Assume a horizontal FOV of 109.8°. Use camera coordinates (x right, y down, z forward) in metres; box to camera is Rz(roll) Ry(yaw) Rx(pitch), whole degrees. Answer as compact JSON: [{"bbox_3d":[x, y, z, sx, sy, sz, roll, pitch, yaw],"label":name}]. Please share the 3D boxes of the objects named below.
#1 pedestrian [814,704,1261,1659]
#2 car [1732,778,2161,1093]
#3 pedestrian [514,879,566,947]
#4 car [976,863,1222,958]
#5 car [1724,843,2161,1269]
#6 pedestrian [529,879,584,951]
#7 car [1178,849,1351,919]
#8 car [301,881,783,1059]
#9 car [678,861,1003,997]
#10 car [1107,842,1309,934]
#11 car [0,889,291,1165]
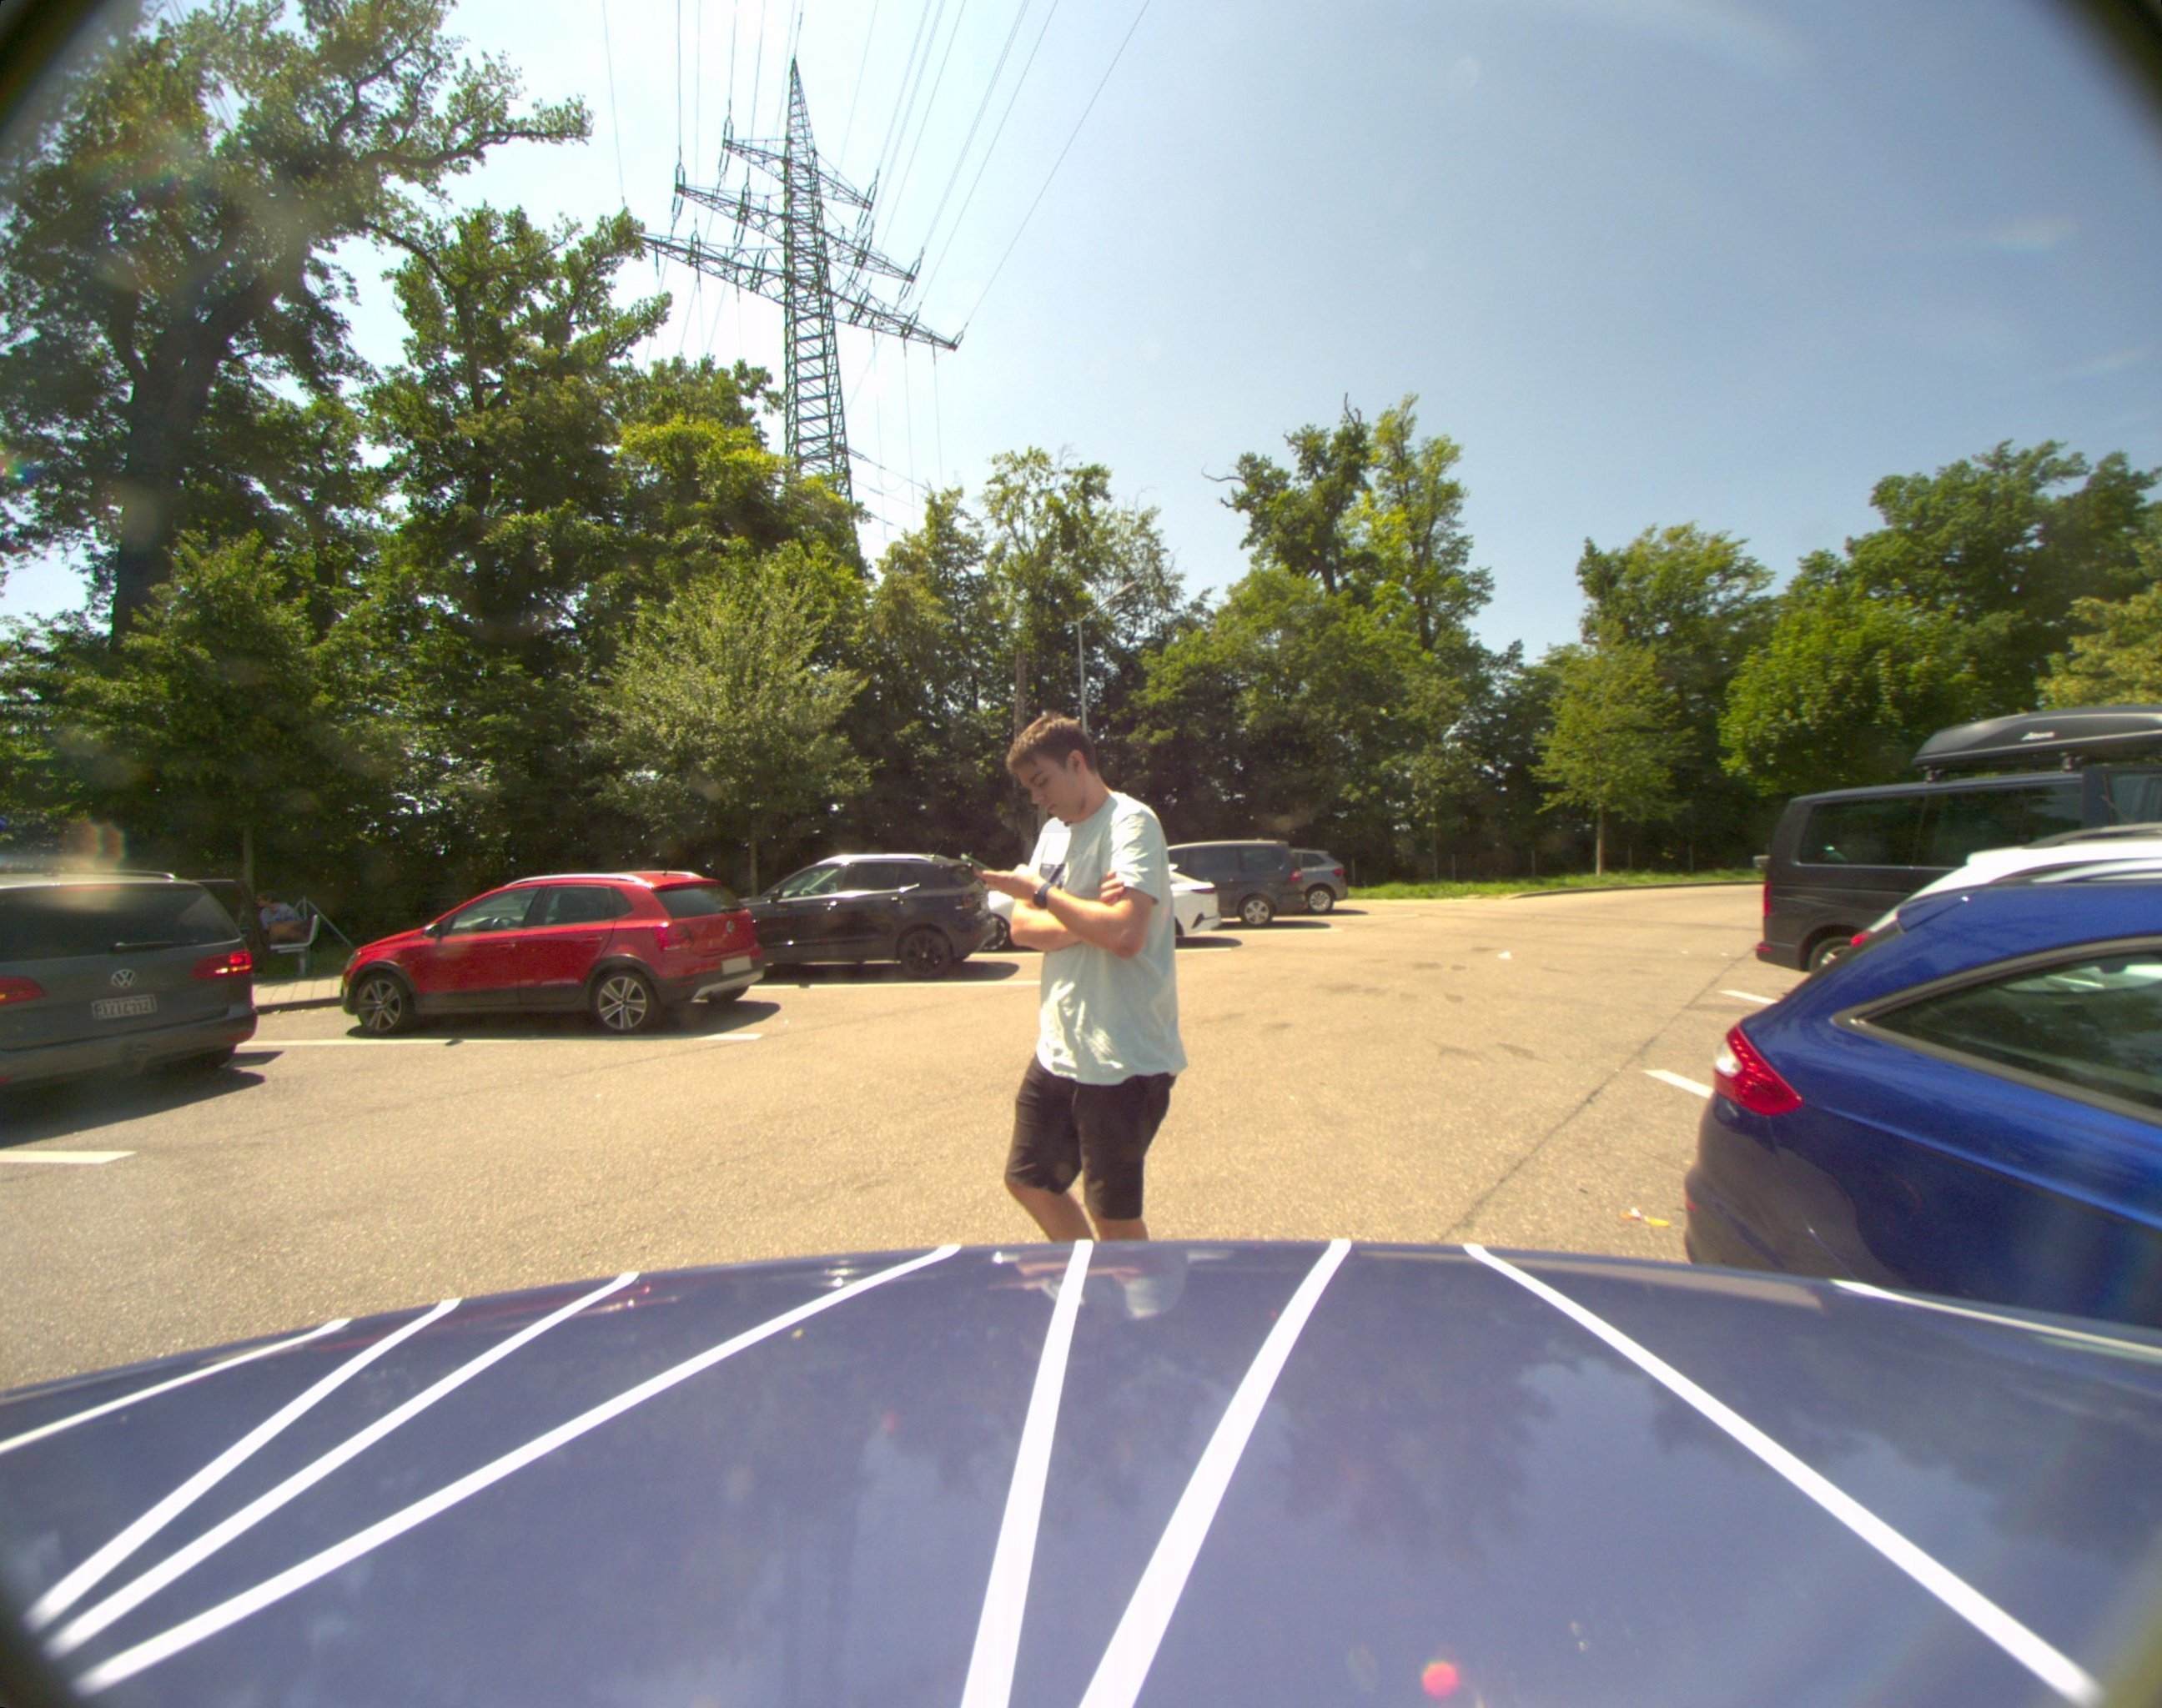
[{"bbox_3d":[-0.115,0.635,1.960,0.888,1.831,0.623,-1,1,38],"label":"pedestrian"},{"bbox_3d":[7.307,0.439,4.929,1.961,1.858,4.642,-3,-1,-3],"label":"car"},{"bbox_3d":[-10.914,1.174,15.323,0.782,1.287,0.670,-1,2,45],"label":"pedestrian"},{"bbox_3d":[0.351,0.905,12.742,3.819,1.377,1.722,-1,1,6],"label":"car"},{"bbox_3d":[4.860,0.728,2.299,1.741,1.524,4.642,-3,-1,-2],"label":"car"},{"bbox_3d":[-10.027,1.148,14.529,0.782,1.287,0.670,-1,2,45],"label":"pedestrian"},{"bbox_3d":[4.326,0.695,18.170,3.818,1.530,1.722,-1,1,12],"label":"car"},{"bbox_3d":[-5.253,1.073,7.666,3.785,1.457,1.722,-1,1,9],"label":"car"},{"bbox_3d":[-3.080,0.943,10.276,3.787,1.564,1.721,-1,1,2],"label":"car"},{"bbox_3d":[2.574,0.672,15.468,3.818,1.714,1.722,-1,1,12],"label":"car"},{"bbox_3d":[-8.305,1.115,5.456,3.985,1.572,1.749,-1,1,12],"label":"car"}]
